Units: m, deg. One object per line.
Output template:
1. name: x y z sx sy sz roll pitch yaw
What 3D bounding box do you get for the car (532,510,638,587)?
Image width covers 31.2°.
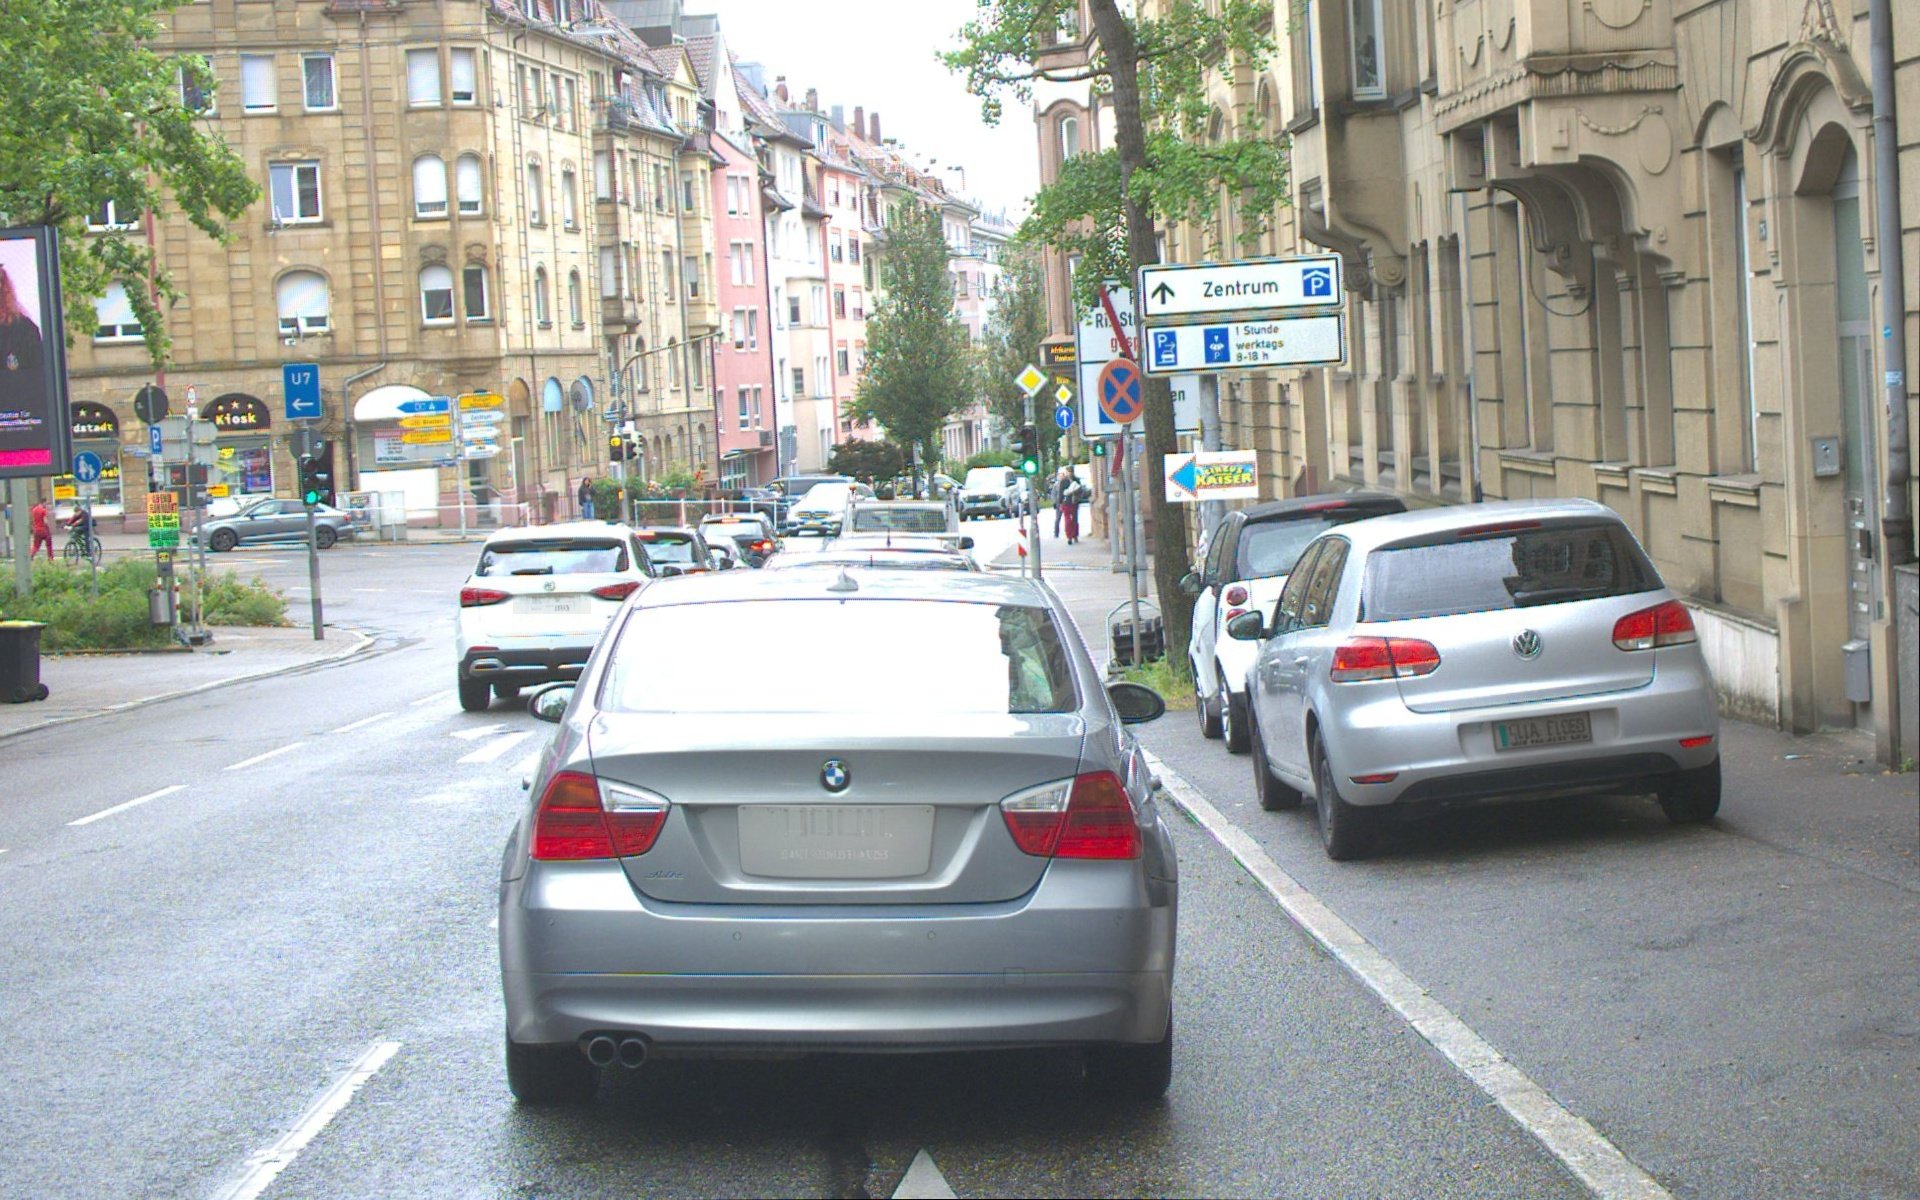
1. car: -7.424 -1.036 68.319 1.715 1.445 3.743 -2 1 -1

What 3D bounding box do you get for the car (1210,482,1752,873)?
1. car: 2.316 0.277 16.301 1.759 1.446 4.000 -6 1 -1

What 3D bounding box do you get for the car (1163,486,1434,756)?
1. car: 2.185 0.096 22.763 1.299 1.537 2.976 -6 1 -1

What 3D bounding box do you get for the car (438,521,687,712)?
1. car: -3.590 0.097 31.706 1.868 1.620 4.000 -1 1 -1

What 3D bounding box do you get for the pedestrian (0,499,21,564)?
1. pedestrian: -23.971 -1.712 86.470 0.589 1.628 0.390 1 0 -1

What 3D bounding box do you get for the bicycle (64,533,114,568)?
1. bicycle: -21.366 -1.209 84.366 0.574 0.855 1.521 1 1 12

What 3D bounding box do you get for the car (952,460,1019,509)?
1. car: 0.902 -4.000 119.560 1.994 1.573 3.999 1 1 5

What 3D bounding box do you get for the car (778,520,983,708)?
1. car: -0.623 0.063 29.551 1.595 1.459 4.000 -1 1 1

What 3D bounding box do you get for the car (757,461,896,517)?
1. car: -5.018 -4.178 129.833 5.176 2.007 2.699 1 0 -1

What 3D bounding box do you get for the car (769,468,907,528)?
1. car: -3.410 -2.857 96.891 1.997 1.573 3.993 1 1 32

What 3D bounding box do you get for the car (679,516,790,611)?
1. car: -4.180 -0.710 64.231 1.759 1.702 4.000 -1 1 1

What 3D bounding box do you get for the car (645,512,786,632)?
1. car: -3.625 -0.449 51.565 1.759 1.702 4.000 -1 1 1

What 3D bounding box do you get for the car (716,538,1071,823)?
1. car: -0.313 0.367 19.215 1.759 1.378 4.000 -1 1 1

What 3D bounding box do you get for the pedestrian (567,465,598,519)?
1. pedestrian: -11.080 -3.166 100.854 0.732 1.572 0.528 -2 1 8

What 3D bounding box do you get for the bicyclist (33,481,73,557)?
1. bicyclist: -22.322 -1.982 84.603 0.782 1.814 0.771 -4 1 -22

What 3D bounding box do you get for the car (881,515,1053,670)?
1. car: 0.032 -0.129 37.933 1.759 1.562 4.001 -1 2 -1

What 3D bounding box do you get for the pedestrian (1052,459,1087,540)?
1. pedestrian: 2.608 -2.394 81.800 0.742 1.903 0.659 -2 1 -1

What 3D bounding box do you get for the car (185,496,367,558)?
1. car: -18.468 -1.948 92.719 4.638 1.573 2.001 1 1 -16

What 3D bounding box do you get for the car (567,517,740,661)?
1. car: -3.809 -0.184 43.259 1.759 1.702 4.000 -1 1 1

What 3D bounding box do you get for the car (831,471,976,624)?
1. car: -0.799 -0.752 49.408 1.993 2.099 4.000 0 1 -1

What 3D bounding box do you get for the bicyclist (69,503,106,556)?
1. bicyclist: -21.376 -1.722 84.250 0.569 1.268 0.689 1 0 20

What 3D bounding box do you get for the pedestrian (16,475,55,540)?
1. pedestrian: -22.773 -2.287 84.710 0.537 1.572 0.719 -2 1 21

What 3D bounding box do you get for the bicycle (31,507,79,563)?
1. bicycle: -22.205 -1.601 84.419 0.671 1.315 2.276 -3 2 -5

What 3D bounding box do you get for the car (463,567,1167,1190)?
1. car: -0.321 0.634 9.824 1.623 1.378 3.615 -1 1 1

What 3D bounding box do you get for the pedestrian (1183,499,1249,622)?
1. pedestrian: 3.284 -0.510 44.090 0.631 1.503 0.693 -6 1 -1
